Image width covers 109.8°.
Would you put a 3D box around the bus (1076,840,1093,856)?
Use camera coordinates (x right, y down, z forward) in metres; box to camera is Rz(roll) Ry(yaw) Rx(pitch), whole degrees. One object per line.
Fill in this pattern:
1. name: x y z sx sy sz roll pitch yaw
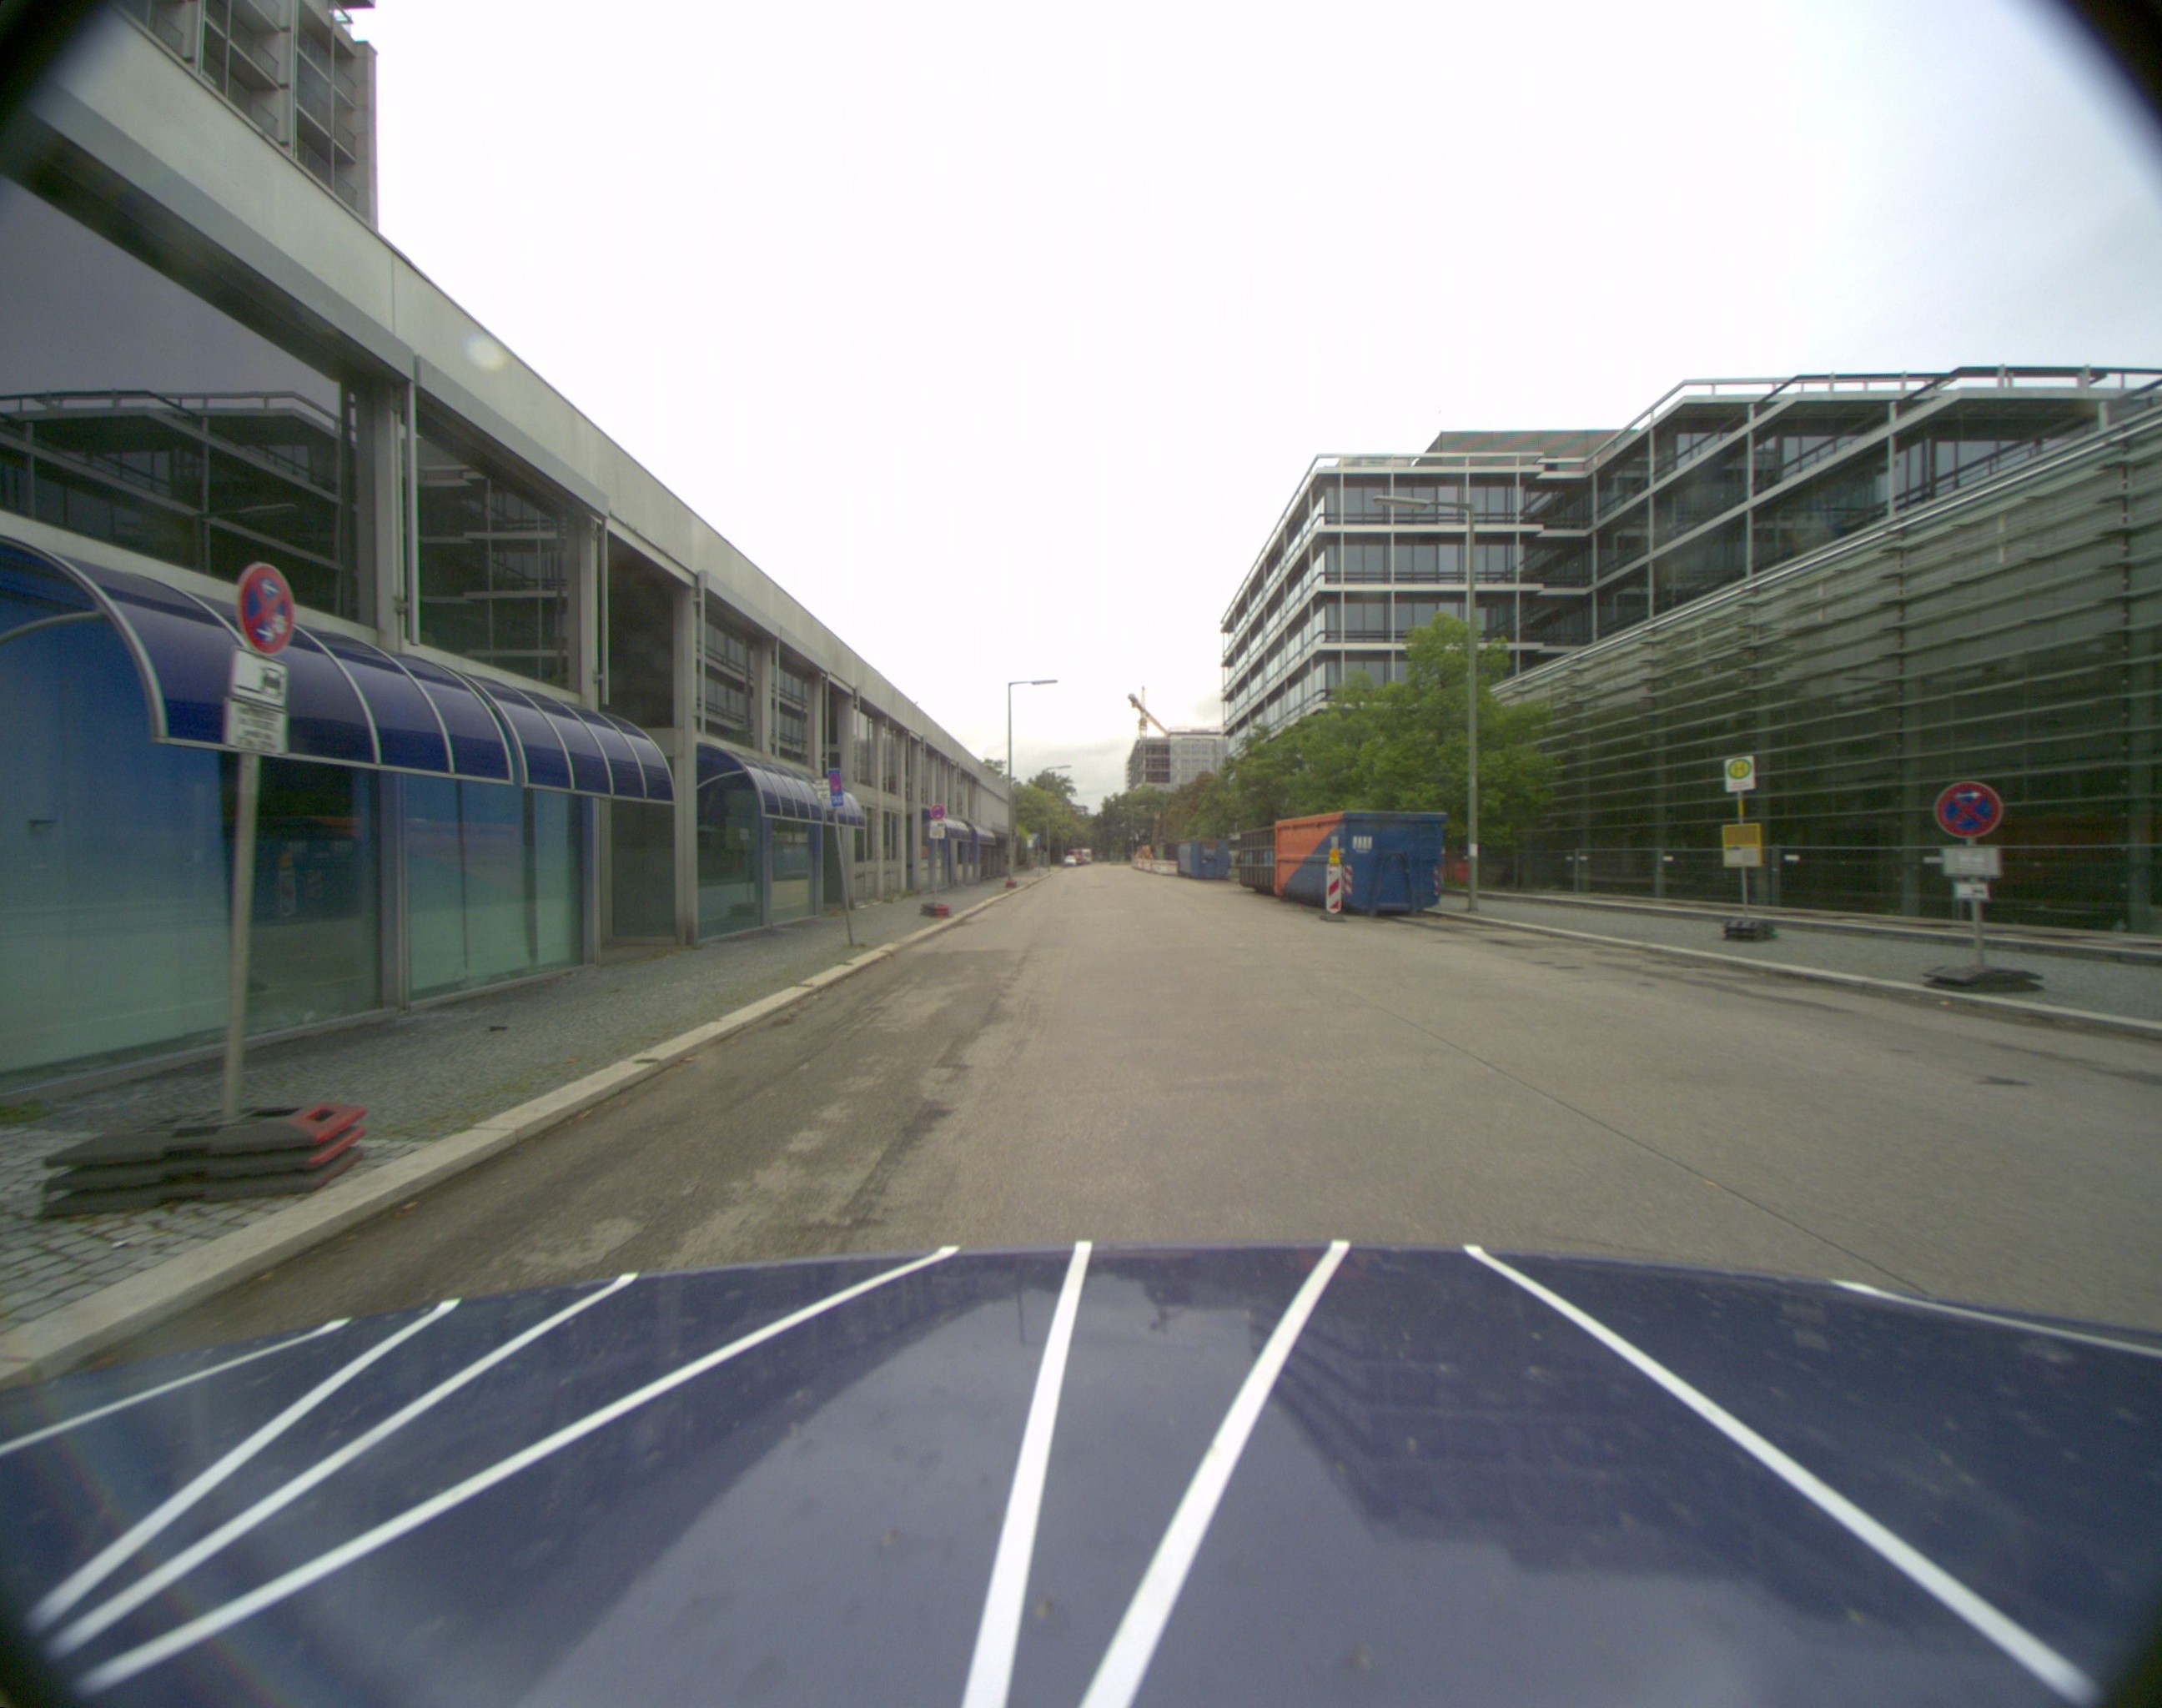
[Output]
1. bus: 0.604 -1.007 131.861 2.076 2.714 5.871 0 1 10

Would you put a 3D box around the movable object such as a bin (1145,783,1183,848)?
1. movable object such as a bin: 8.817 -3.955 82.072 2.911 6.527 11.782 0 1 0

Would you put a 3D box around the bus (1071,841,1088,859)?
1. bus: -0.221 -0.626 117.904 2.077 2.789 6.274 0 1 6

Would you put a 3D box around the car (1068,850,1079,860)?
1. car: -1.139 0.127 110.905 1.536 1.483 4.059 0 1 -1
